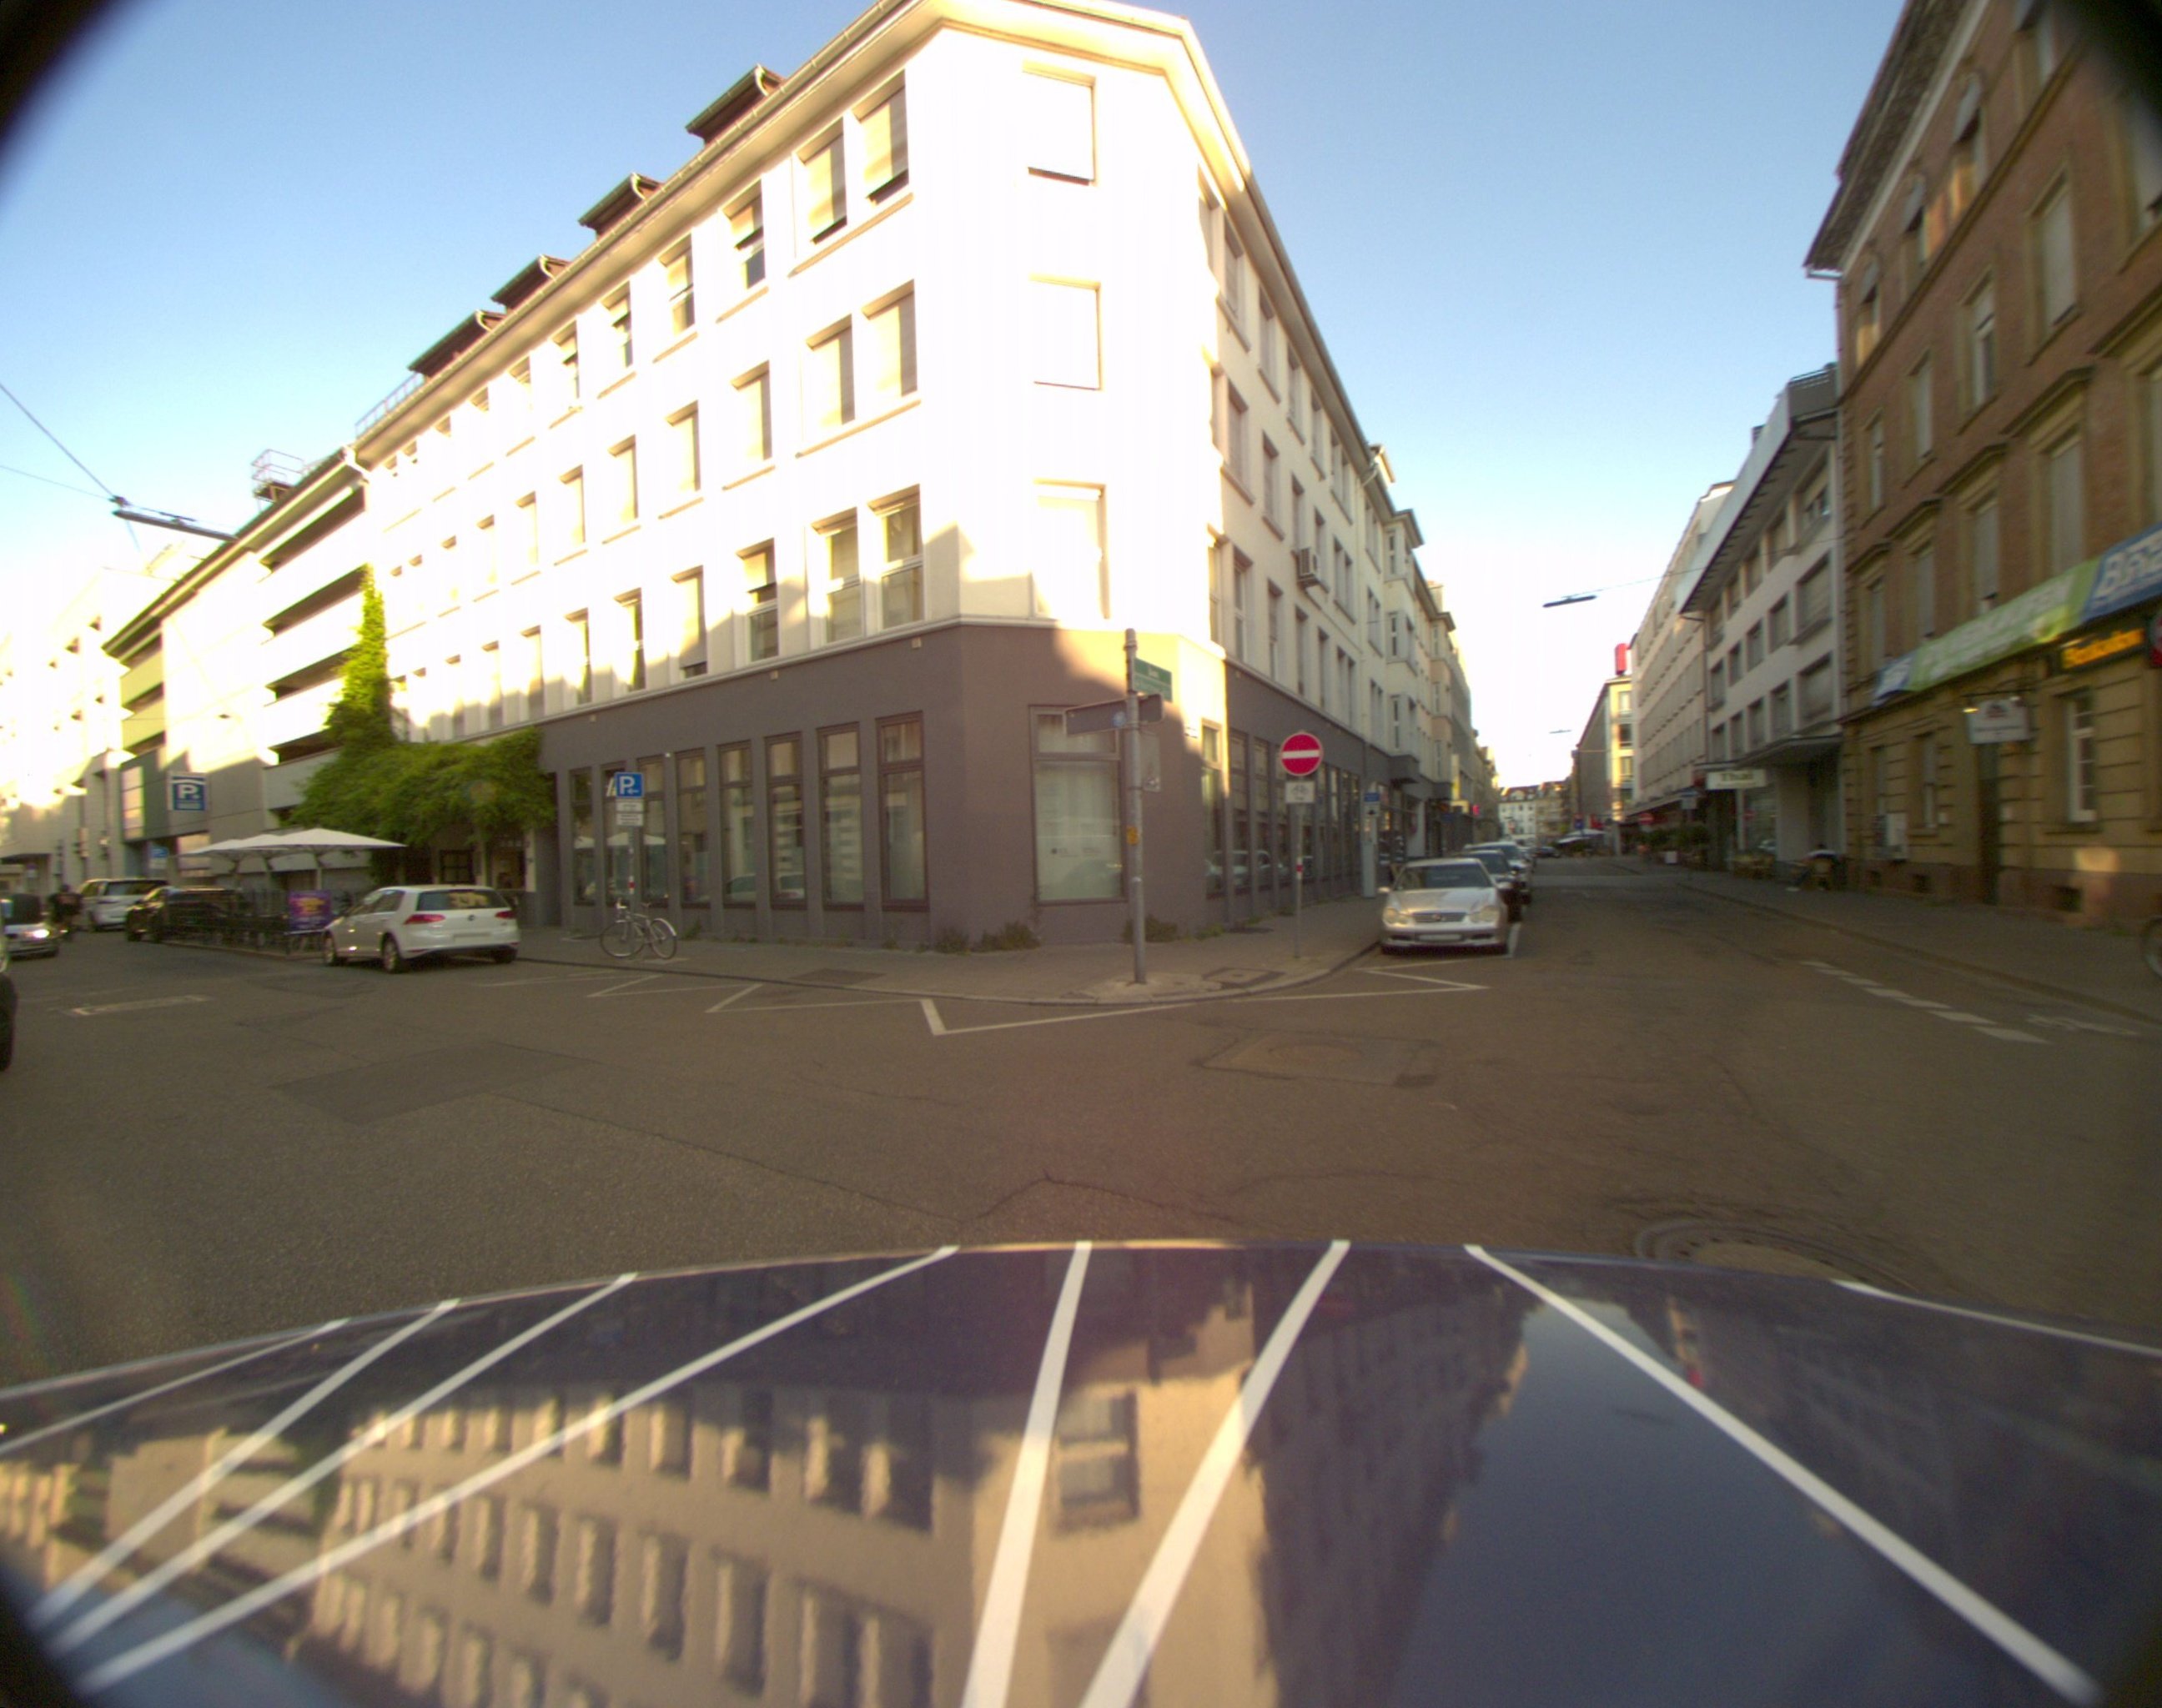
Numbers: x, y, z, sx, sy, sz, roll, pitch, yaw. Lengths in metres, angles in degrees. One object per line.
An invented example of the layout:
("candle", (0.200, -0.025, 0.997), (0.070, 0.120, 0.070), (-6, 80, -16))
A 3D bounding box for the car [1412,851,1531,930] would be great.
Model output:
("car", (8.829, 0.723, 17.001), (2.009, 1.515, 4.125), (-1, 0, 32))

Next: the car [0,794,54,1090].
("car", (-11.958, 0.798, 7.122), (6.186, 2.425, 2.289), (-1, 0, 32))

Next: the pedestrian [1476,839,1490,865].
("pedestrian", (34.915, -0.169, 66.035), (1.030, 2.162, 0.887), (-1, 0, 25))

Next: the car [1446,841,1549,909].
("car", (12.030, 0.530, 21.788), (2.331, 1.734, 4.496), (-1, 0, 32))

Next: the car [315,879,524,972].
("car", (-11.945, 1.185, 13.674), (3.872, 1.405, 1.666), (-1, 0, 30))

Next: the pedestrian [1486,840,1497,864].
("pedestrian", (36.315, -0.182, 67.217), (0.725, 2.078, 0.806), (-1, 1, 25))

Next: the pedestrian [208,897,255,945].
("pedestrian", (-21.948, 1.713, 19.636), (0.554, 1.159, 0.740), (-1, 0, -26))

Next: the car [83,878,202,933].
("car", (-35.362, 1.878, 28.610), (4.838, 1.928, 2.004), (-1, -2, 29))

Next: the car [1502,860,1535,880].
("car", (25.611, 0.918, 44.445), (1.511, 1.053, 3.474), (-1, 0, 32))

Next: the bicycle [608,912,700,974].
("bicycle", (-7.078, 1.442, 12.568), (1.639, 0.900, 0.599), (-2, 0, 32))

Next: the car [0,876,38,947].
("car", (-25.317, 1.324, 17.033), (3.989, 1.516, 1.793), (-1, 2, 30))

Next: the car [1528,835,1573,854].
("car", (50.814, -1.045, 82.308), (2.000, 2.002, 3.997), (-2, 1, -8))

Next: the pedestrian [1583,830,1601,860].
("pedestrian", (45.156, -0.774, 67.183), (1.245, 2.599, 1.470), (-1, 1, 31))

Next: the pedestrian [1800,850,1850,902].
("pedestrian", (19.769, 0.571, 20.189), (0.807, 1.332, 0.836), (-2, 1, -38))

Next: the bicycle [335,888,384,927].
("bicycle", (-22.698, 1.672, 23.901), (1.789, 1.153, 0.646), (-2, 1, 32))

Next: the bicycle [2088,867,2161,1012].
("bicycle", (10.053, 0.781, 6.700), (0.659, 1.267, 1.766), (-5, -1, 28))

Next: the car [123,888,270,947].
("car", (-26.117, 1.802, 22.403), (4.758, 1.558, 1.891), (-1, -2, 29))

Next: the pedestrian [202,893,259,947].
("pedestrian", (-21.211, 1.631, 18.955), (0.913, 1.279, 0.785), (-1, 0, 32))

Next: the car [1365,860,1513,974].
("car", (5.916, 0.874, 12.238), (1.752, 1.393, 4.497), (-3, -1, 30))
